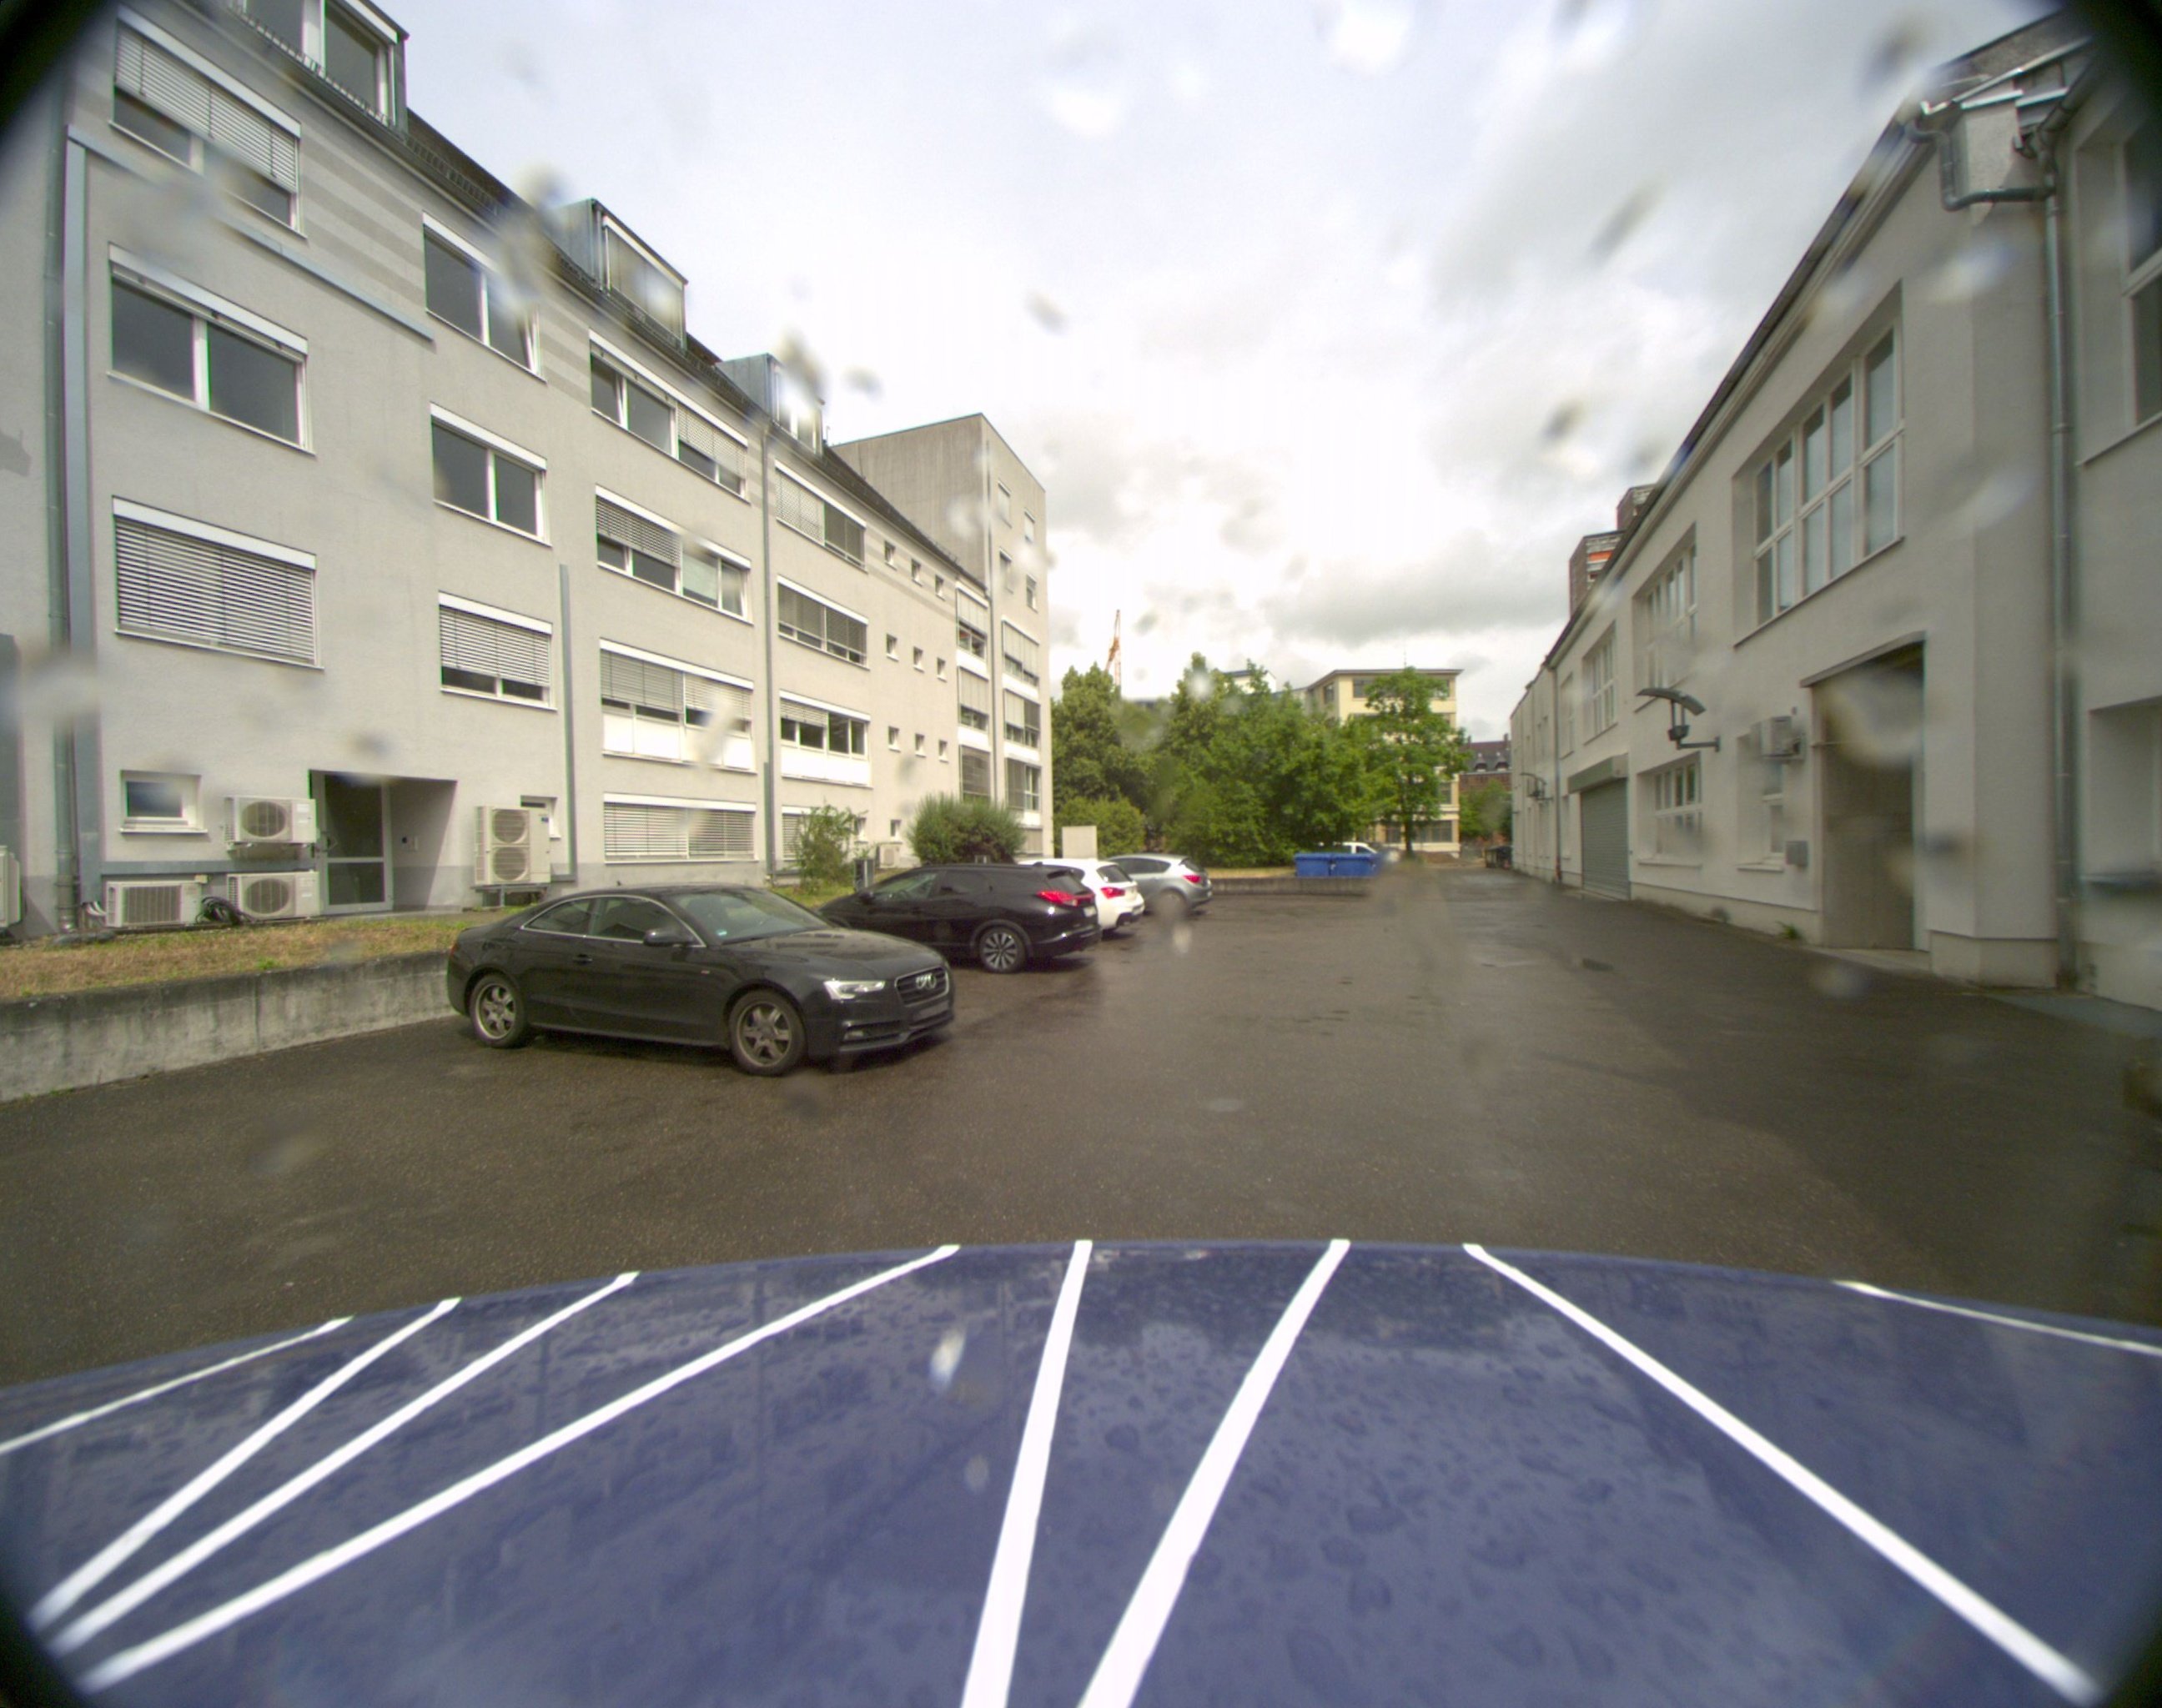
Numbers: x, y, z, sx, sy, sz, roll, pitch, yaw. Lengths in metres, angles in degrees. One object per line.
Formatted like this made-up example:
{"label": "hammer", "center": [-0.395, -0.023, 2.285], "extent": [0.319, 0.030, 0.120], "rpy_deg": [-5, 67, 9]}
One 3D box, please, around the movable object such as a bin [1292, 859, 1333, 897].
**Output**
{"label": "movable object such as a bin", "center": [8.110, 0.823, 26.588], "extent": [1.230, 1.310, 1.057], "rpy_deg": [0, 0, 24]}

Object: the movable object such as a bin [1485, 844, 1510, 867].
{"label": "movable object such as a bin", "center": [28.301, 0.119, 51.654], "extent": [1.361, 1.462, 1.467], "rpy_deg": [-2, -1, 24]}

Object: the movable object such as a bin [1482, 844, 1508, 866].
{"label": "movable object such as a bin", "center": [28.953, 0.107, 53.161], "extent": [1.410, 1.462, 1.563], "rpy_deg": [-2, -1, 24]}

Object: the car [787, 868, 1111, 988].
{"label": "car", "center": [-1.845, 0.955, 10.987], "extent": [4.175, 1.393, 1.942], "rpy_deg": [0, 1, 18]}

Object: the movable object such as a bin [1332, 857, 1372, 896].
{"label": "movable object such as a bin", "center": [9.328, 0.759, 26.120], "extent": [1.230, 1.310, 1.057], "rpy_deg": [0, 0, 24]}

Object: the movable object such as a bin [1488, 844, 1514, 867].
{"label": "movable object such as a bin", "center": [27.104, 0.109, 49.061], "extent": [1.361, 1.462, 1.368], "rpy_deg": [-2, -1, 24]}

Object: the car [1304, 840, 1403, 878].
{"label": "car", "center": [15.166, 0.284, 42.369], "extent": [4.940, 2.002, 2.003], "rpy_deg": [-1, 1, 28]}

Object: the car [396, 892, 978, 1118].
{"label": "car", "center": [-3.280, 1.062, 6.496], "extent": [4.358, 1.341, 1.863], "rpy_deg": [0, 0, 18]}

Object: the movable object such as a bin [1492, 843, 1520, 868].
{"label": "movable object such as a bin", "center": [26.521, 0.097, 47.433], "extent": [1.361, 1.462, 1.368], "rpy_deg": [-2, -1, 24]}

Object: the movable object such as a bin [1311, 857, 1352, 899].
{"label": "movable object such as a bin", "center": [9.205, 0.864, 27.850], "extent": [1.276, 1.474, 1.103], "rpy_deg": [-2, -1, 24]}

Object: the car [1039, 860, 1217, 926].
{"label": "car", "center": [1.172, 0.907, 18.900], "extent": [4.083, 1.450, 1.670], "rpy_deg": [0, 2, 21]}

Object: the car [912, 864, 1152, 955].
{"label": "car", "center": [-0.898, 0.950, 14.303], "extent": [4.101, 1.447, 1.836], "rpy_deg": [0, 1, 20]}

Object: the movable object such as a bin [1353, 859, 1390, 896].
{"label": "movable object such as a bin", "center": [10.536, 0.852, 27.559], "extent": [1.175, 1.309, 1.057], "rpy_deg": [-2, -1, 24]}
